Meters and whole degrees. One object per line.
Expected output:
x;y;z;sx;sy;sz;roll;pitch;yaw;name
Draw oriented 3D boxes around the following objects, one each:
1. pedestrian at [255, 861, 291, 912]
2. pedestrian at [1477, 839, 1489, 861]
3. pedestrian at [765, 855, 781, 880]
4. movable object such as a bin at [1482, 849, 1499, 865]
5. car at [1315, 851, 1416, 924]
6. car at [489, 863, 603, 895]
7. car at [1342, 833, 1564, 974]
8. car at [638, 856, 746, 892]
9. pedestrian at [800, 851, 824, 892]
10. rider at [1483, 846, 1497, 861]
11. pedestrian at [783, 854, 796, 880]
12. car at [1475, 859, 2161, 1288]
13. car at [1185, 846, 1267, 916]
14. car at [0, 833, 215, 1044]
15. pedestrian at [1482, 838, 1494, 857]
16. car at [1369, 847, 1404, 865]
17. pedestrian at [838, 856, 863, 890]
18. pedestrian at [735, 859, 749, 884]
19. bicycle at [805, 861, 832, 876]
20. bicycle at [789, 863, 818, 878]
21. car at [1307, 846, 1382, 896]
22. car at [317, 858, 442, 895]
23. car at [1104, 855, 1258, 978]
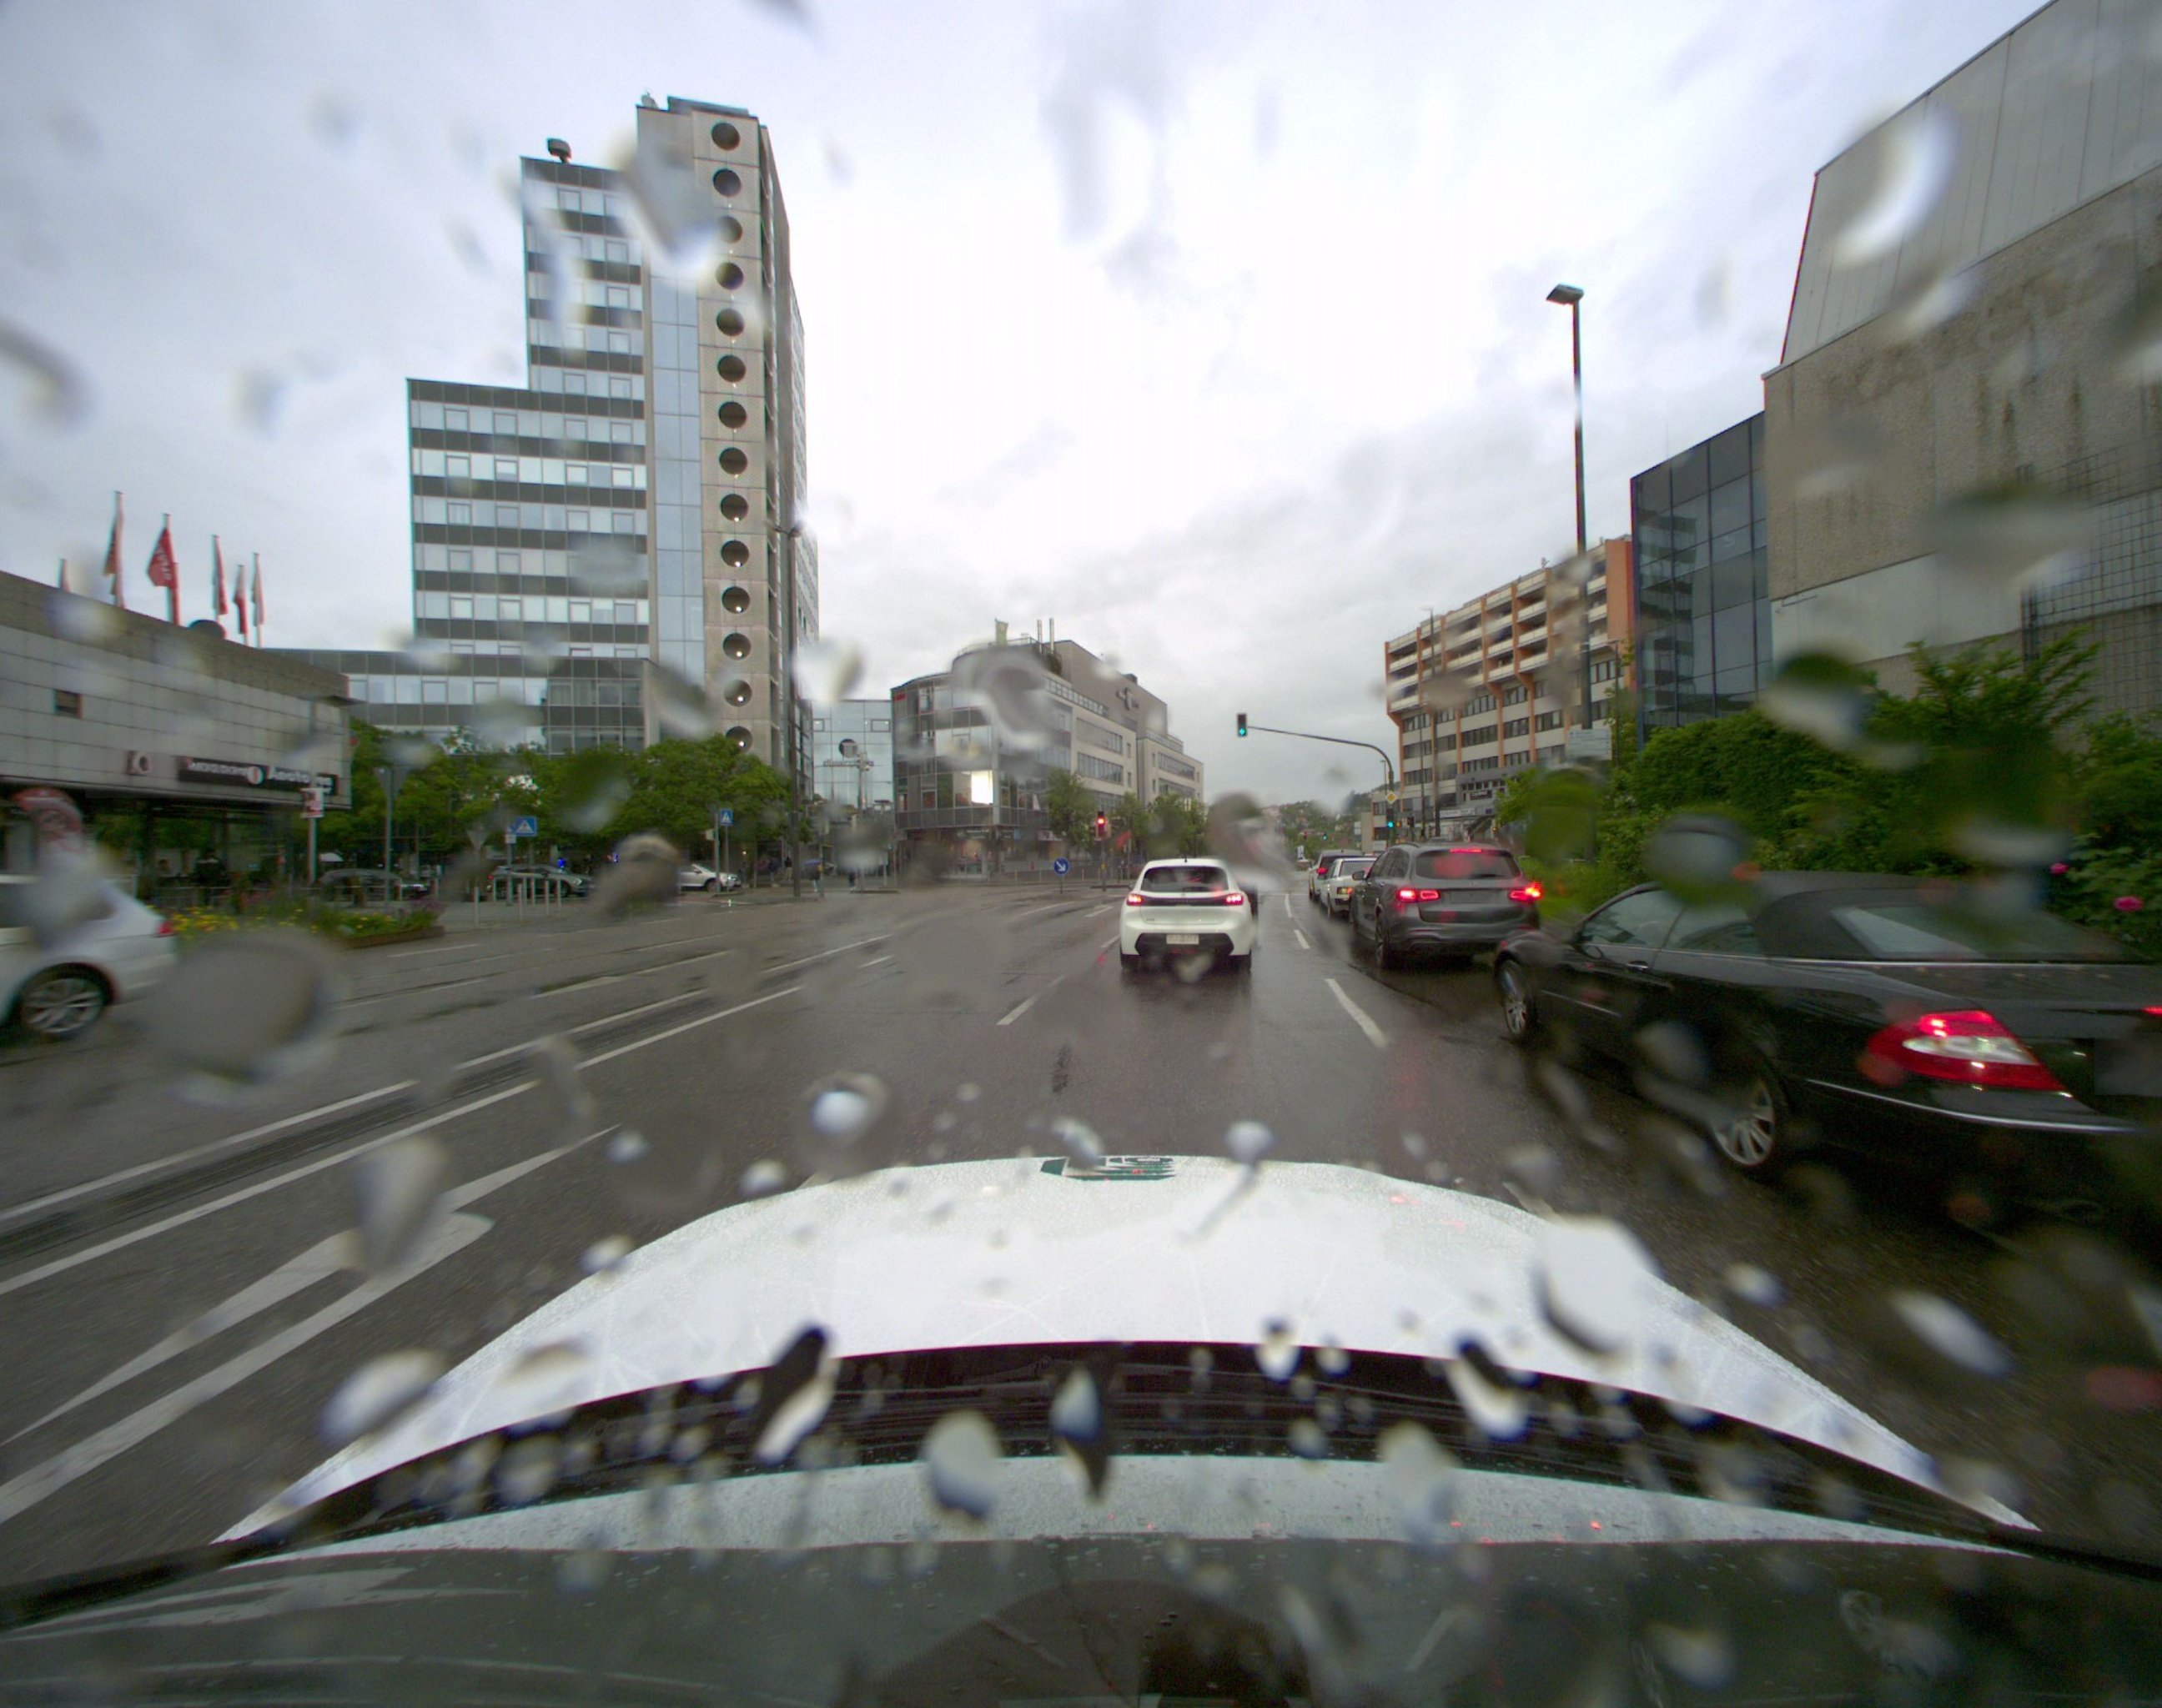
-21.599;0.858;21.772;0.491;1.348;0.540;-1;-1;23;pedestrian
29.891;-0.310;60.505;0.701;1.607;0.659;4;2;25;pedestrian
-23.787;1.032;62.868;0.825;1.868;0.756;-2;-1;11;pedestrian
36.523;0.255;72.642;1.120;1.332;1.461;-4;-3;19;movable object such as a bin
6.300;0.662;18.458;1.623;1.448;4.282;0;0;12;car
-25.002;1.145;38.203;4.038;1.420;1.867;-1;0;-5;car
5.012;0.573;11.667;1.889;1.621;4.348;0;0;10;car
-18.389;0.928;38.640;4.184;1.595;1.867;-1;0;-5;car
-13.728;0.888;41.596;1.165;2.013;1.320;-1;0;-18;pedestrian
36.474;-0.065;72.632;0.914;1.284;1.096;-4;-1;19;rider
-22.553;0.993;63.003;0.709;2.013;0.766;-1;0;3;pedestrian
4.033;0.743;4.928;1.623;1.386;4.524;0;0;7;car
3.678;0.594;20.586;1.804;1.529;3.824;1;1;10;car
-9.598;0.675;5.790;1.877;1.682;4.510;0;0;4;car
30.390;-0.469;60.795;0.701;1.346;0.659;-2;-2;23;pedestrian
42.583;0.297;113.761;1.998;2.226;4.948;-2;-1;-16;car
-12.710;1.031;44.943;0.838;1.819;1.030;-2;-1;21;pedestrian
-25.623;1.297;61.578;0.757;1.868;0.824;-1;-1;-38;pedestrian
-23.796;1.295;73.822;2.275;1.247;0.674;-1;-1;-13;bicycle
-23.525;1.413;69.092;2.275;1.247;0.674;-1;-1;-13;bicycle
8.086;0.495;25.268;1.898;1.400;3.470;-1;0;13;car
-32.346;1.024;37.640;3.980;1.595;1.868;1;1;-5;car
1.555;0.759;11.843;1.860;1.462;3.884;0;0;10;car
